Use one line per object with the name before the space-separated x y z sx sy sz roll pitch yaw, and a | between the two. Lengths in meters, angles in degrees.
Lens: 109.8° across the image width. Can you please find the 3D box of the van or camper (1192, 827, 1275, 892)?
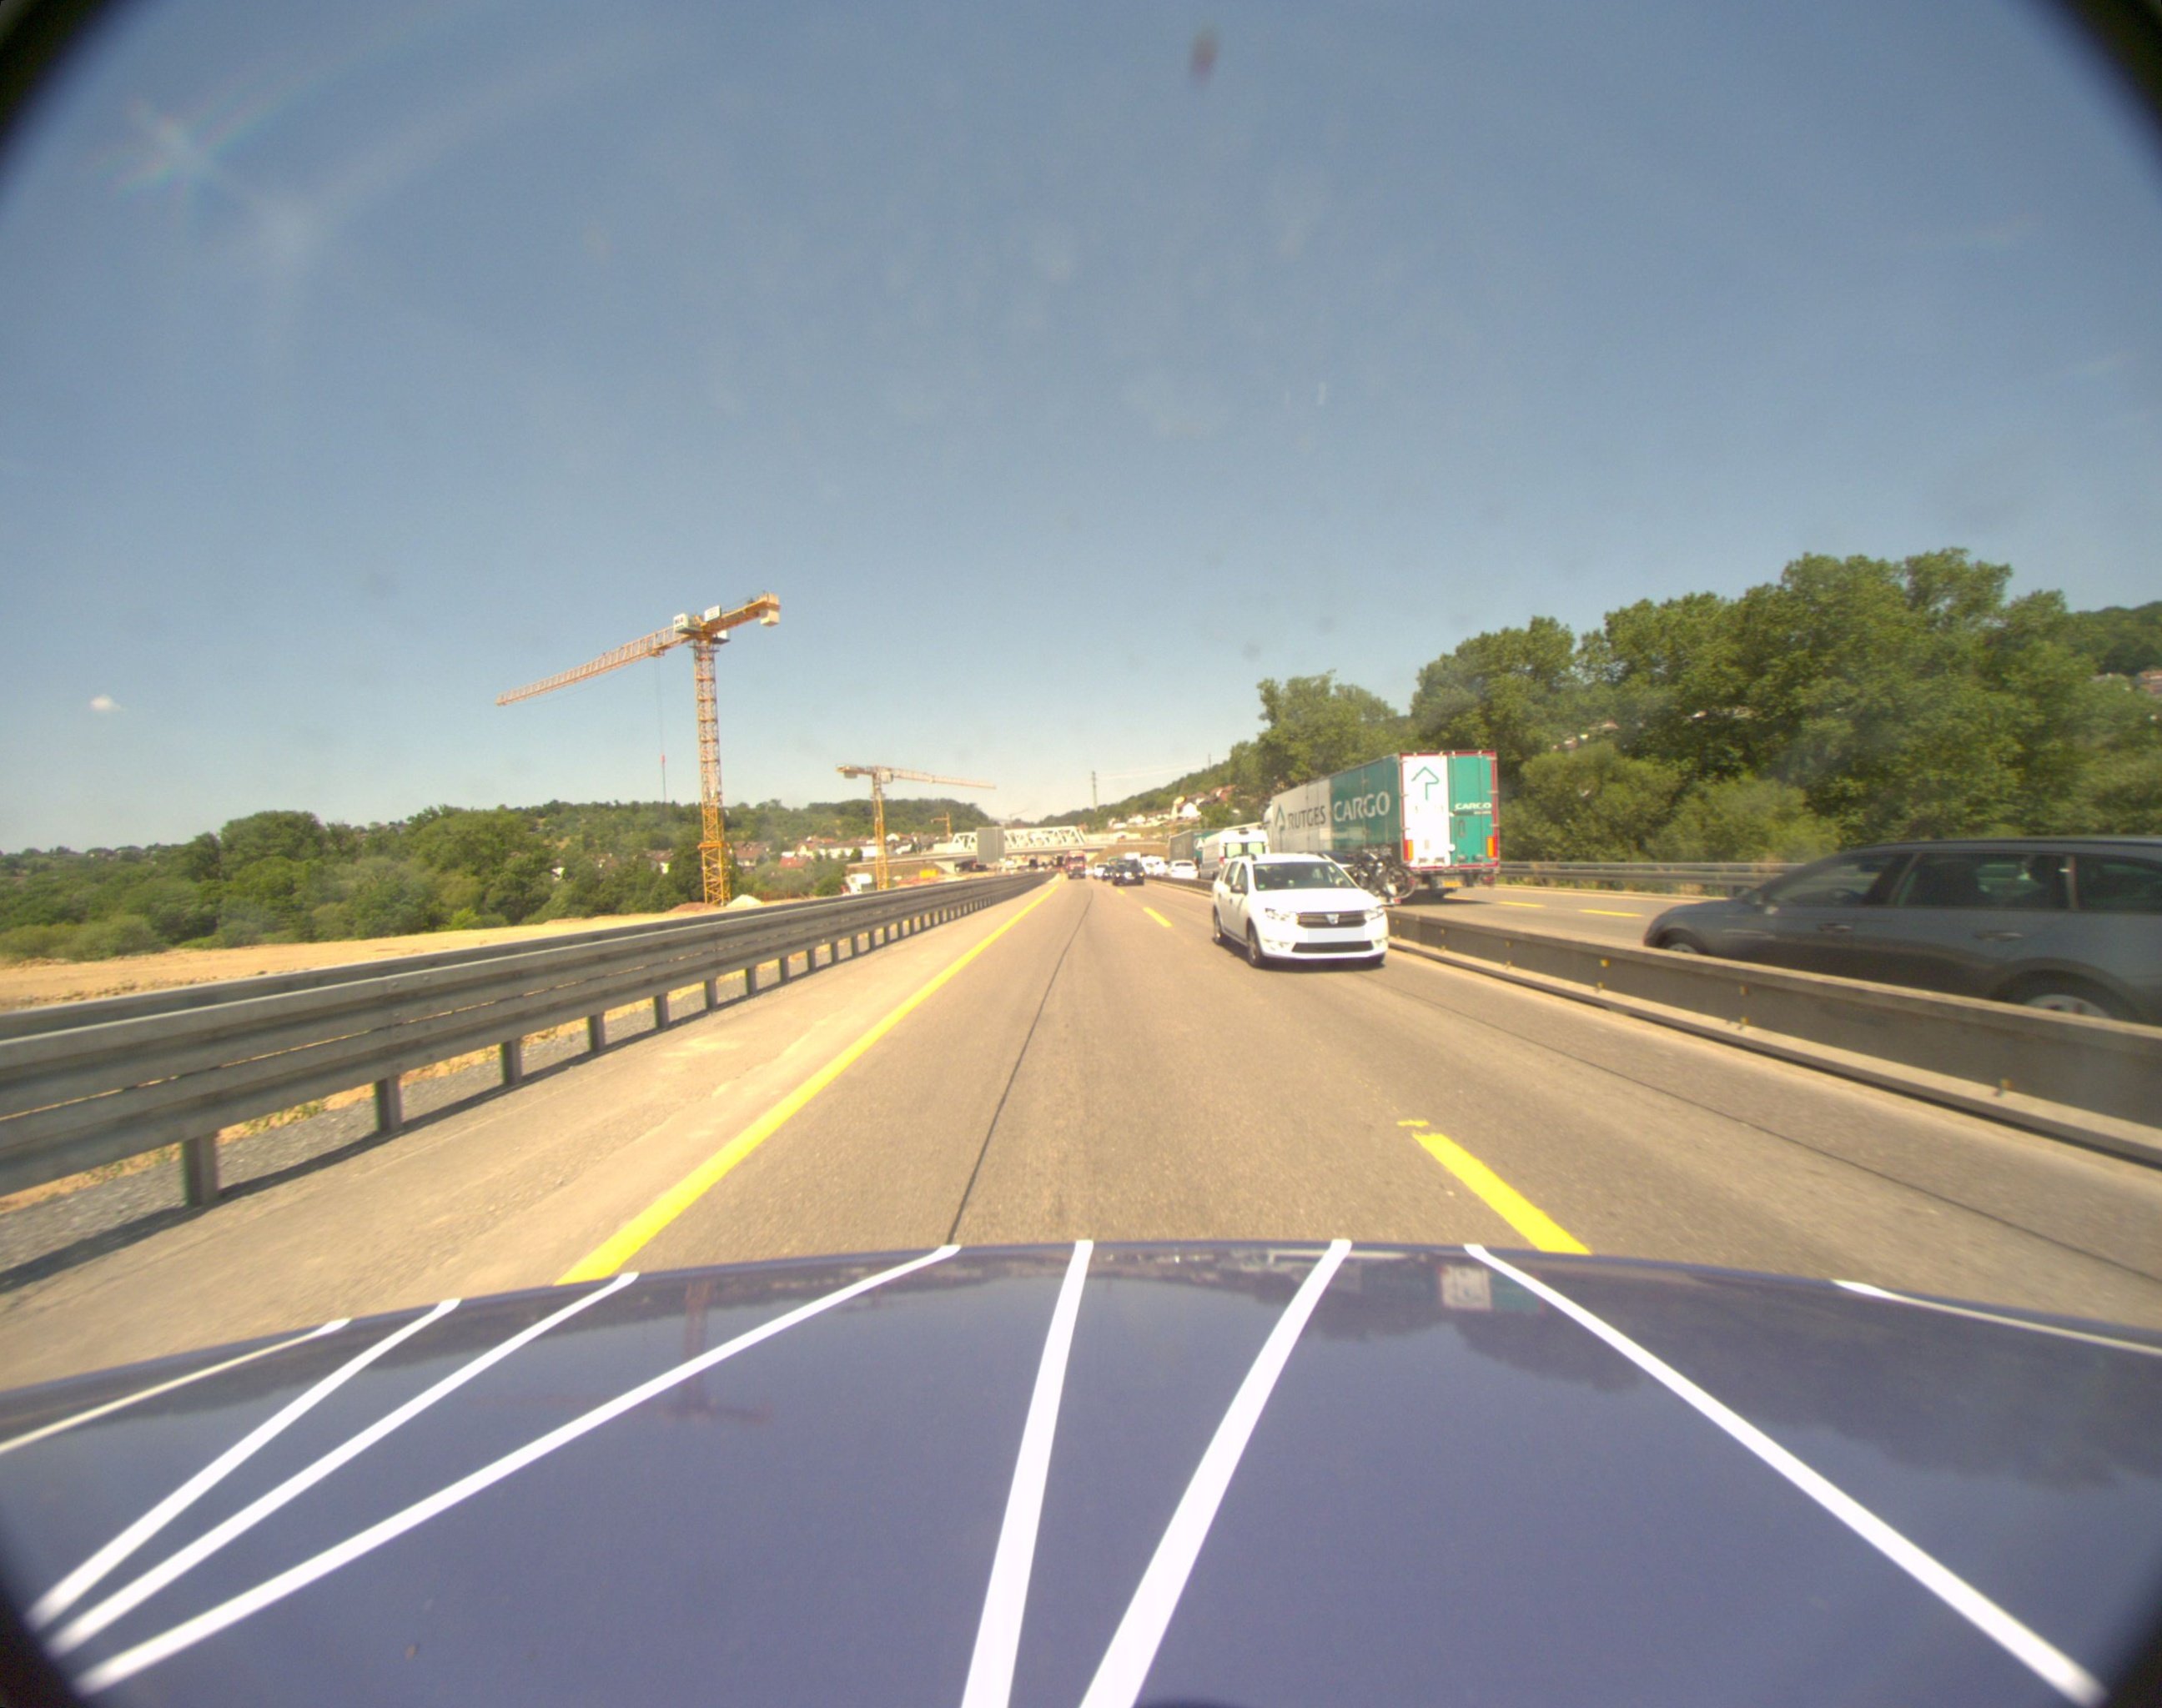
van or camper | 6.531 0.281 33.470 2.224 2.496 6.534 -2 -1 0

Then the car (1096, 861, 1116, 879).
car | 2.386 1.520 73.883 1.791 1.578 4.001 -4 -1 0

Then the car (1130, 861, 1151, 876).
car | 6.585 1.599 84.659 1.870 1.450 4.608 -4 -1 0

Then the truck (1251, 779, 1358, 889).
truck | 9.775 -0.758 33.951 2.813 4.366 6.226 -2 -1 0

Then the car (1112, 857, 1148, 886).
car | 3.051 1.084 48.382 1.862 1.682 4.097 -2 0 -2

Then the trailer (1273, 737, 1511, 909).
trailer | 9.756 -0.805 26.339 2.822 4.404 13.167 -2 0 0

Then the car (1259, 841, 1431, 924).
car | 6.483 0.675 19.604 2.378 1.716 5.781 -3 -1 0

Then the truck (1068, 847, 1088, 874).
truck | -0.359 0.926 109.917 2.702 3.704 8.508 -2 0 1

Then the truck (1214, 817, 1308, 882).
truck | 11.479 -0.189 49.546 2.913 3.742 8.363 -3 -1 -8

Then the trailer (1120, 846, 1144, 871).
trailer | 9.043 0.843 135.416 2.814 4.151 11.798 -2 -1 -3

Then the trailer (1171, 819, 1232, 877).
trailer | 10.060 -0.368 64.993 3.109 4.438 13.021 -1 -1 0

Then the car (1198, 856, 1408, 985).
car | 3.053 0.834 11.563 1.823 1.521 4.706 -2 -1 0

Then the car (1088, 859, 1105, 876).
car | 1.804 1.635 90.727 1.791 1.870 4.001 -4 -1 0

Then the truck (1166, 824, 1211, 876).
truck | 10.037 -0.329 71.576 3.085 4.509 7.103 -2 -1 1

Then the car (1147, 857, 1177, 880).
car | 6.469 1.157 61.081 1.761 1.636 4.156 -4 -1 -1

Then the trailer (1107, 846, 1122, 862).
trailer | 7.815 -0.001 179.845 2.802 3.651 8.955 0 0 -2

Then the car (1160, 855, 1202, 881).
car | 6.364 0.910 48.903 1.998 1.489 4.975 -3 -1 0

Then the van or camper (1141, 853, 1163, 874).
van or camper | 9.660 1.307 104.262 2.510 2.682 5.244 -2 -1 0

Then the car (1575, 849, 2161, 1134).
car | 6.314 0.683 5.660 1.887 1.423 5.124 0 0 -1
